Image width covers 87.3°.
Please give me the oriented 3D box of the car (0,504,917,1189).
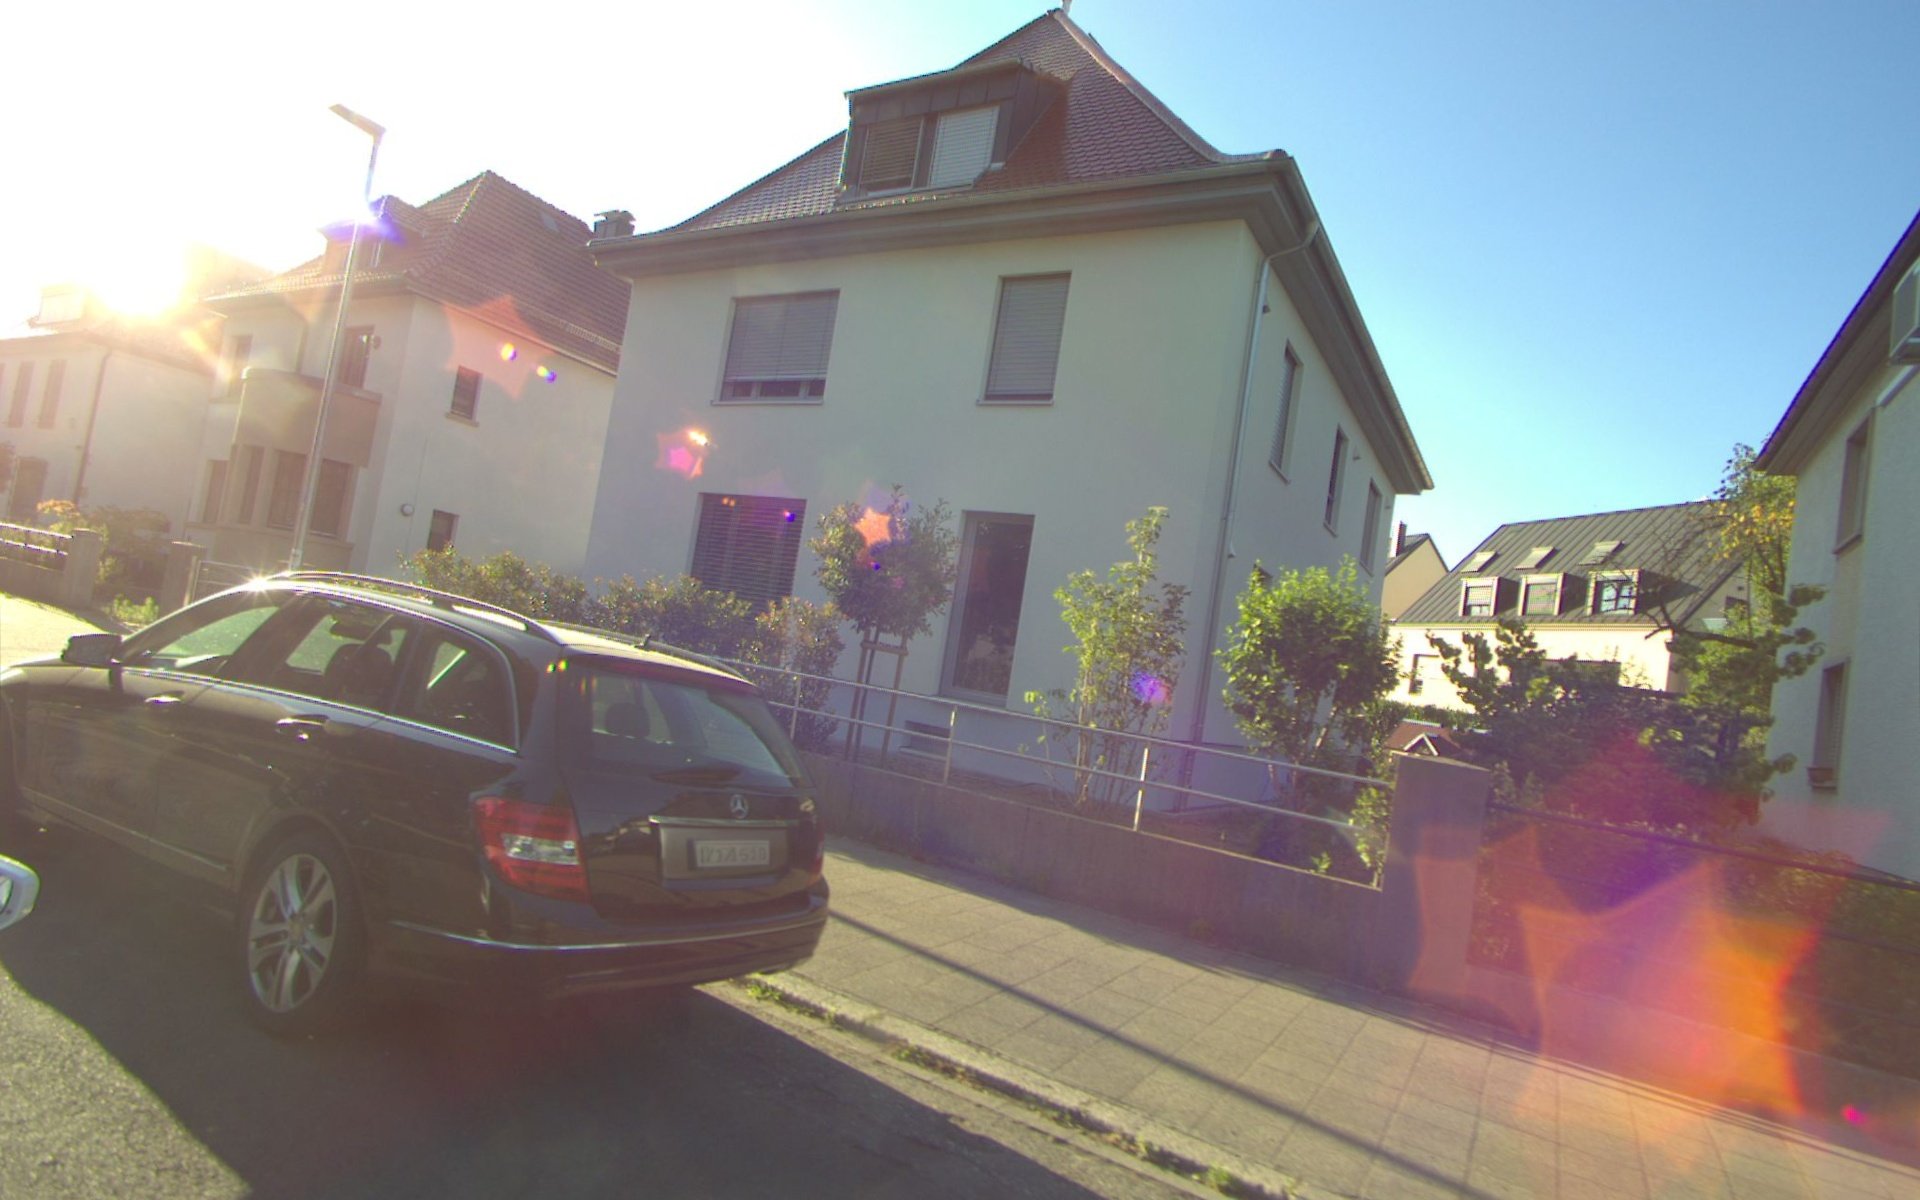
[{"bbox_3d":[-2.584,0.665,4.463,4.323,1.513,1.788,7,-6,30],"label":"car"}]
